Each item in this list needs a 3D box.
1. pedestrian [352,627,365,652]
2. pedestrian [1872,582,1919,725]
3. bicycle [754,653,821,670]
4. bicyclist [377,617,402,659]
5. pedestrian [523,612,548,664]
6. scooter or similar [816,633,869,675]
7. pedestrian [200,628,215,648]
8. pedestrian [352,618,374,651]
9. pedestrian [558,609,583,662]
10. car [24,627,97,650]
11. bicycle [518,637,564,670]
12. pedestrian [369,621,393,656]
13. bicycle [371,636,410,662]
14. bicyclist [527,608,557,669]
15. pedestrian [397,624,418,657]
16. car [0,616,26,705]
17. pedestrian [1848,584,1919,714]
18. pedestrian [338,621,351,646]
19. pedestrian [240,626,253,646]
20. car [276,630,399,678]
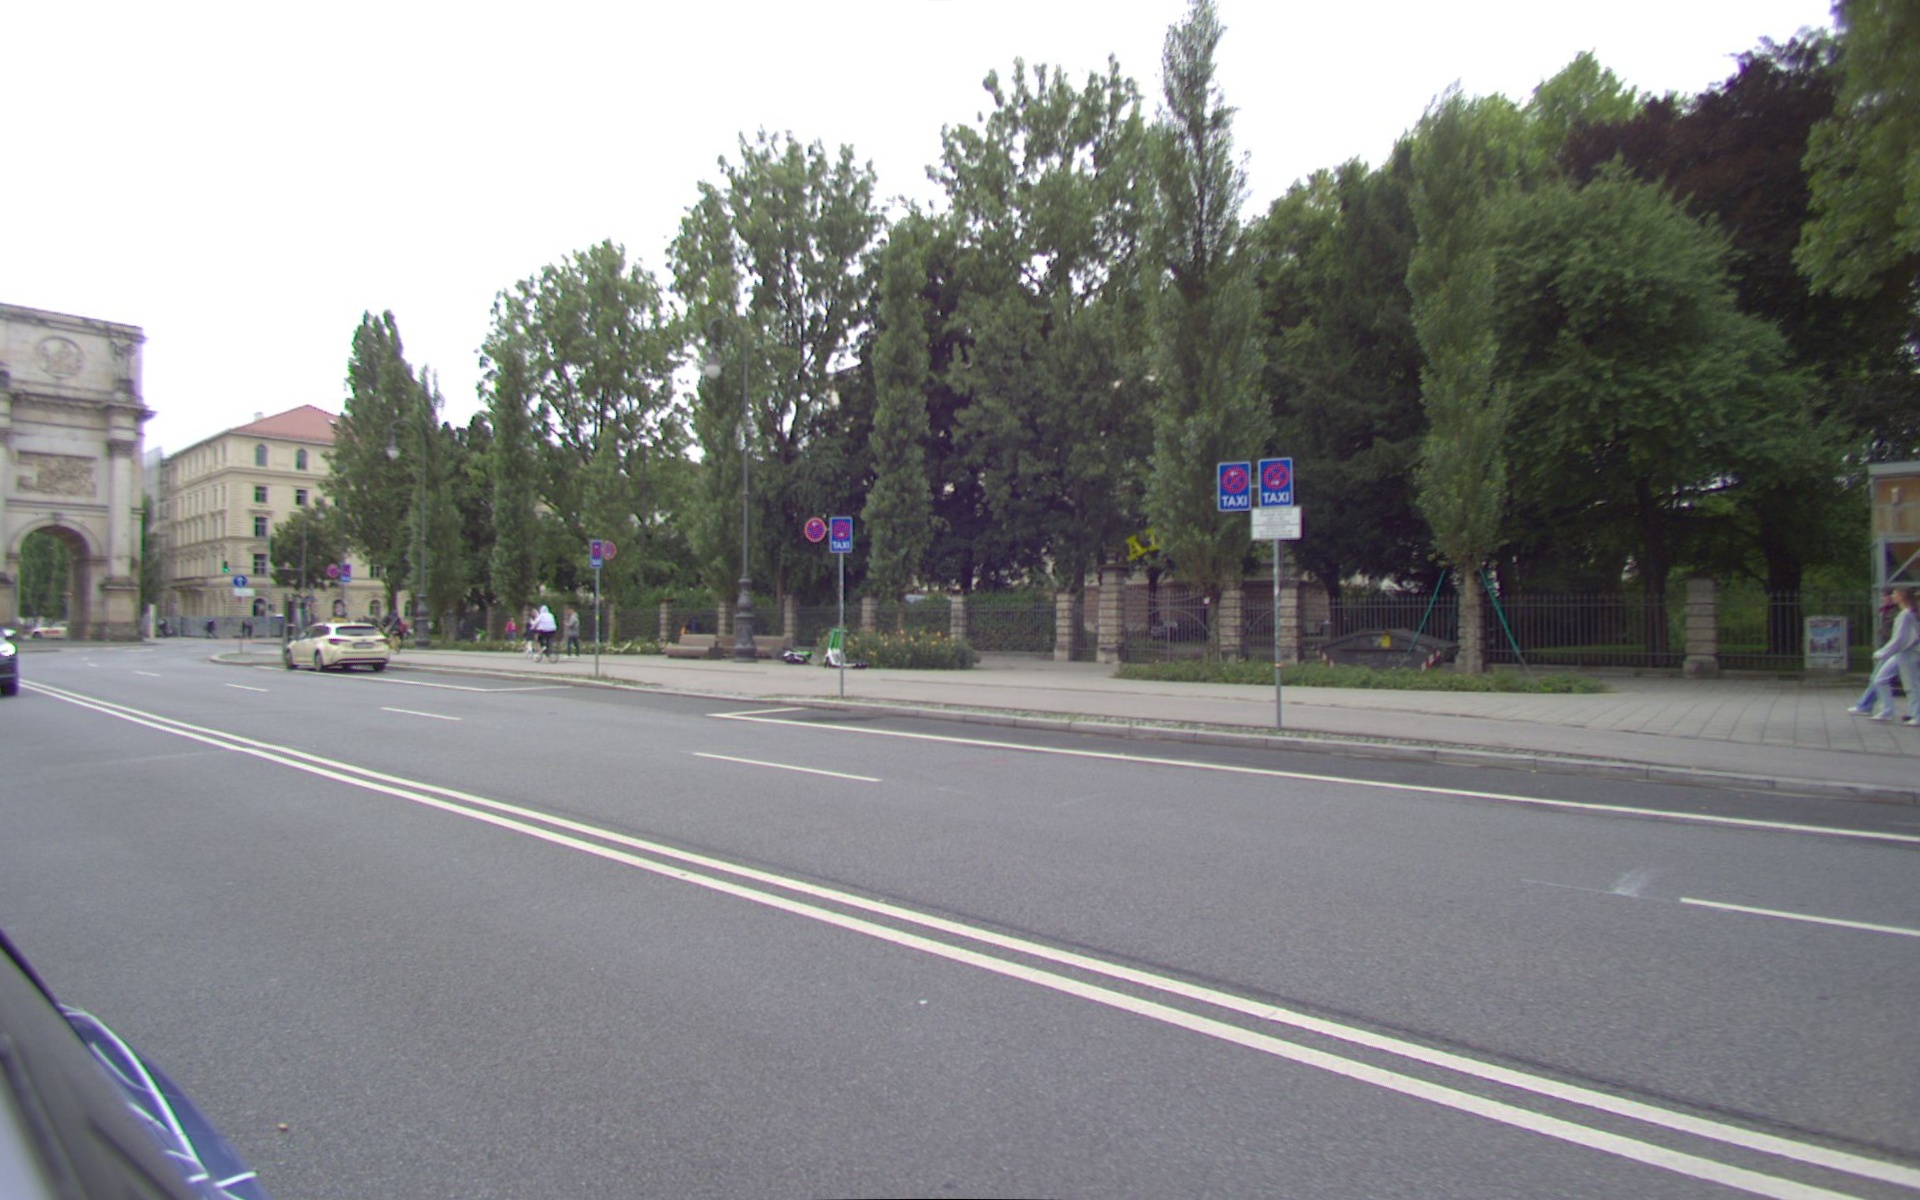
[{"bbox_3d":[-49.419,3.234,83.119,0.758,2.029,0.888,1,-2,-40],"label":"pedestrian"},{"bbox_3d":[12.136,0.666,12.734,0.907,1.760,0.623,-2,-2,40],"label":"pedestrian"},{"bbox_3d":[-5.701,2.032,33.677,1.331,0.456,2.203,-2,-2,18],"label":"bicycle"},{"bbox_3d":[-21.800,1.446,38.684,0.660,1.604,0.639,-2,-1,39],"label":"bicyclist"},{"bbox_3d":[-14.622,1.307,34.867,0.581,1.744,0.527,-1,-2,30],"label":"pedestrian"},{"bbox_3d":[-3.436,1.566,29.632,1.413,1.187,0.738,-2,-3,36],"label":"scooter or similar"},{"bbox_3d":[-68.939,3.495,92.735,1.017,1.837,0.883,1,-2,-42],"label":"pedestrian"},{"bbox_3d":[-32.612,1.863,55.325,0.944,1.731,1.034,-1,0,-27],"label":"pedestrian"},{"bbox_3d":[-12.964,1.189,33.724,0.581,1.744,0.527,-1,-2,30],"label":"pedestrian"},{"bbox_3d":[-69.708,2.975,78.462,3.945,1.763,1.999,0,-2,1],"label":"car"},{"bbox_3d":[-12.874,1.641,31.082,1.912,0.959,0.464,-2,-1,40],"label":"bicycle"},{"bbox_3d":[-29.628,1.981,51.811,0.945,1.731,1.032,-1,0,-37],"label":"pedestrian"},{"bbox_3d":[-21.789,1.860,38.686,1.912,0.959,0.666,-2,-1,40],"label":"bicycle"},{"bbox_3d":[-12.834,1.174,31.068,0.660,1.837,0.583,-2,-1,39],"label":"bicyclist"},{"bbox_3d":[-33.416,2.441,61.197,0.976,1.885,1.032,-1,0,-39],"label":"pedestrian"},{"bbox_3d":[-19.259,1.136,19.062,4.179,1.598,1.818,-1,-1,38],"label":"car"},{"bbox_3d":[12.814,0.667,13.867,0.910,1.729,0.653,-2,-2,40],"label":"pedestrian"},{"bbox_3d":[-50.129,2.751,82.480,0.758,2.029,0.888,1,-2,-40],"label":"pedestrian"},{"bbox_3d":[-63.908,3.215,90.635,0.868,1.837,0.687,1,-2,-40],"label":"pedestrian"},{"bbox_3d":[-18.791,1.599,30.487,4.464,1.347,1.774,-2,-2,39],"label":"car"}]
